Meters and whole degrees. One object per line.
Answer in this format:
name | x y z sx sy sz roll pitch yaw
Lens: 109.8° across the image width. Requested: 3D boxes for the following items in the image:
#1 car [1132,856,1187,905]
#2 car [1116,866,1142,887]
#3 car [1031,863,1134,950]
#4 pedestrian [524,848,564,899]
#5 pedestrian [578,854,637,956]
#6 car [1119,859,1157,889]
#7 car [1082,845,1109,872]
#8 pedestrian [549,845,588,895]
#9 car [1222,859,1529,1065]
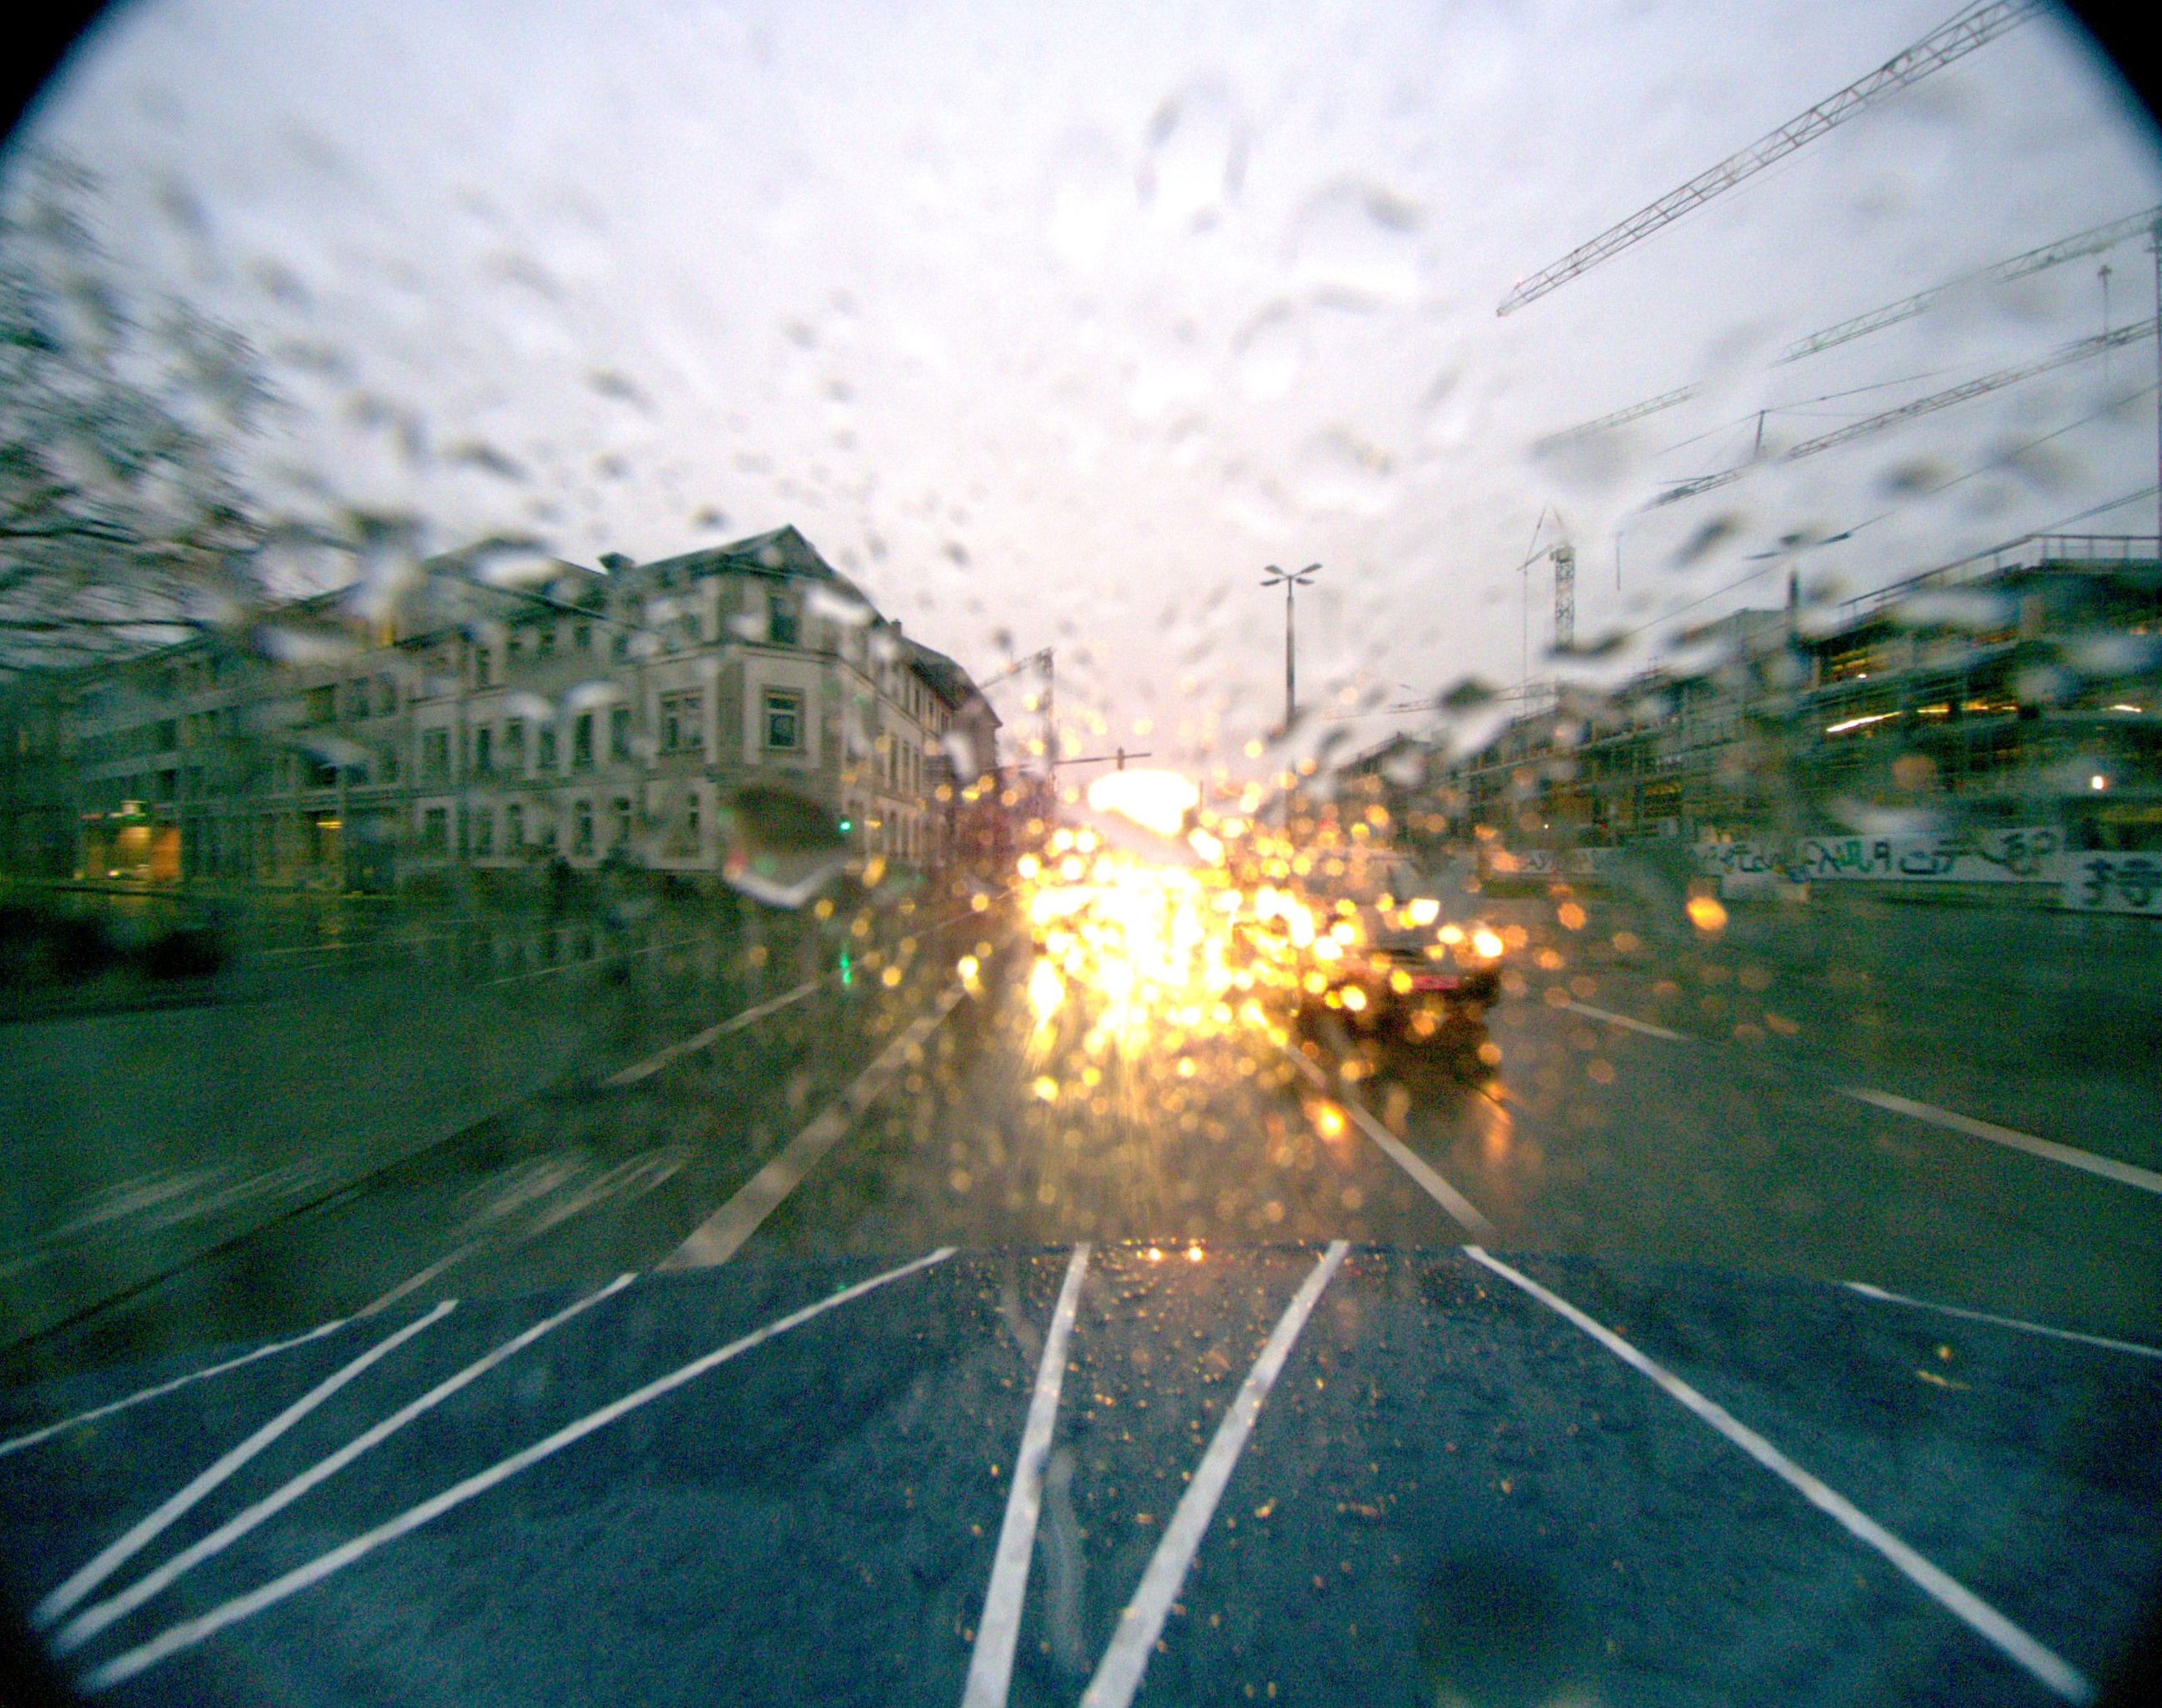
car | 2.982 0.953 29.463 1.857 1.723 4.001 -1 0 2
car | 3.833 1.770 61.346 1.844 1.547 4.000 -1 0 1
car | 0.002 0.935 15.297 1.764 1.443 3.999 -1 0 -1
pedestrian | -21.095 0.771 29.855 0.975 1.969 0.869 -1 1 23
pedestrian | -8.968 0.941 14.401 0.713 1.868 0.676 -1 1 35
car | 3.300 1.126 44.495 1.844 1.644 4.324 -1 0 0
car | 1.012 0.312 55.431 1.858 1.886 3.999 -1 0 -1
pedestrian | -20.679 0.631 30.650 0.975 1.969 0.869 -1 1 23
car | 2.711 0.876 8.046 1.764 1.584 4.000 -1 0 1
